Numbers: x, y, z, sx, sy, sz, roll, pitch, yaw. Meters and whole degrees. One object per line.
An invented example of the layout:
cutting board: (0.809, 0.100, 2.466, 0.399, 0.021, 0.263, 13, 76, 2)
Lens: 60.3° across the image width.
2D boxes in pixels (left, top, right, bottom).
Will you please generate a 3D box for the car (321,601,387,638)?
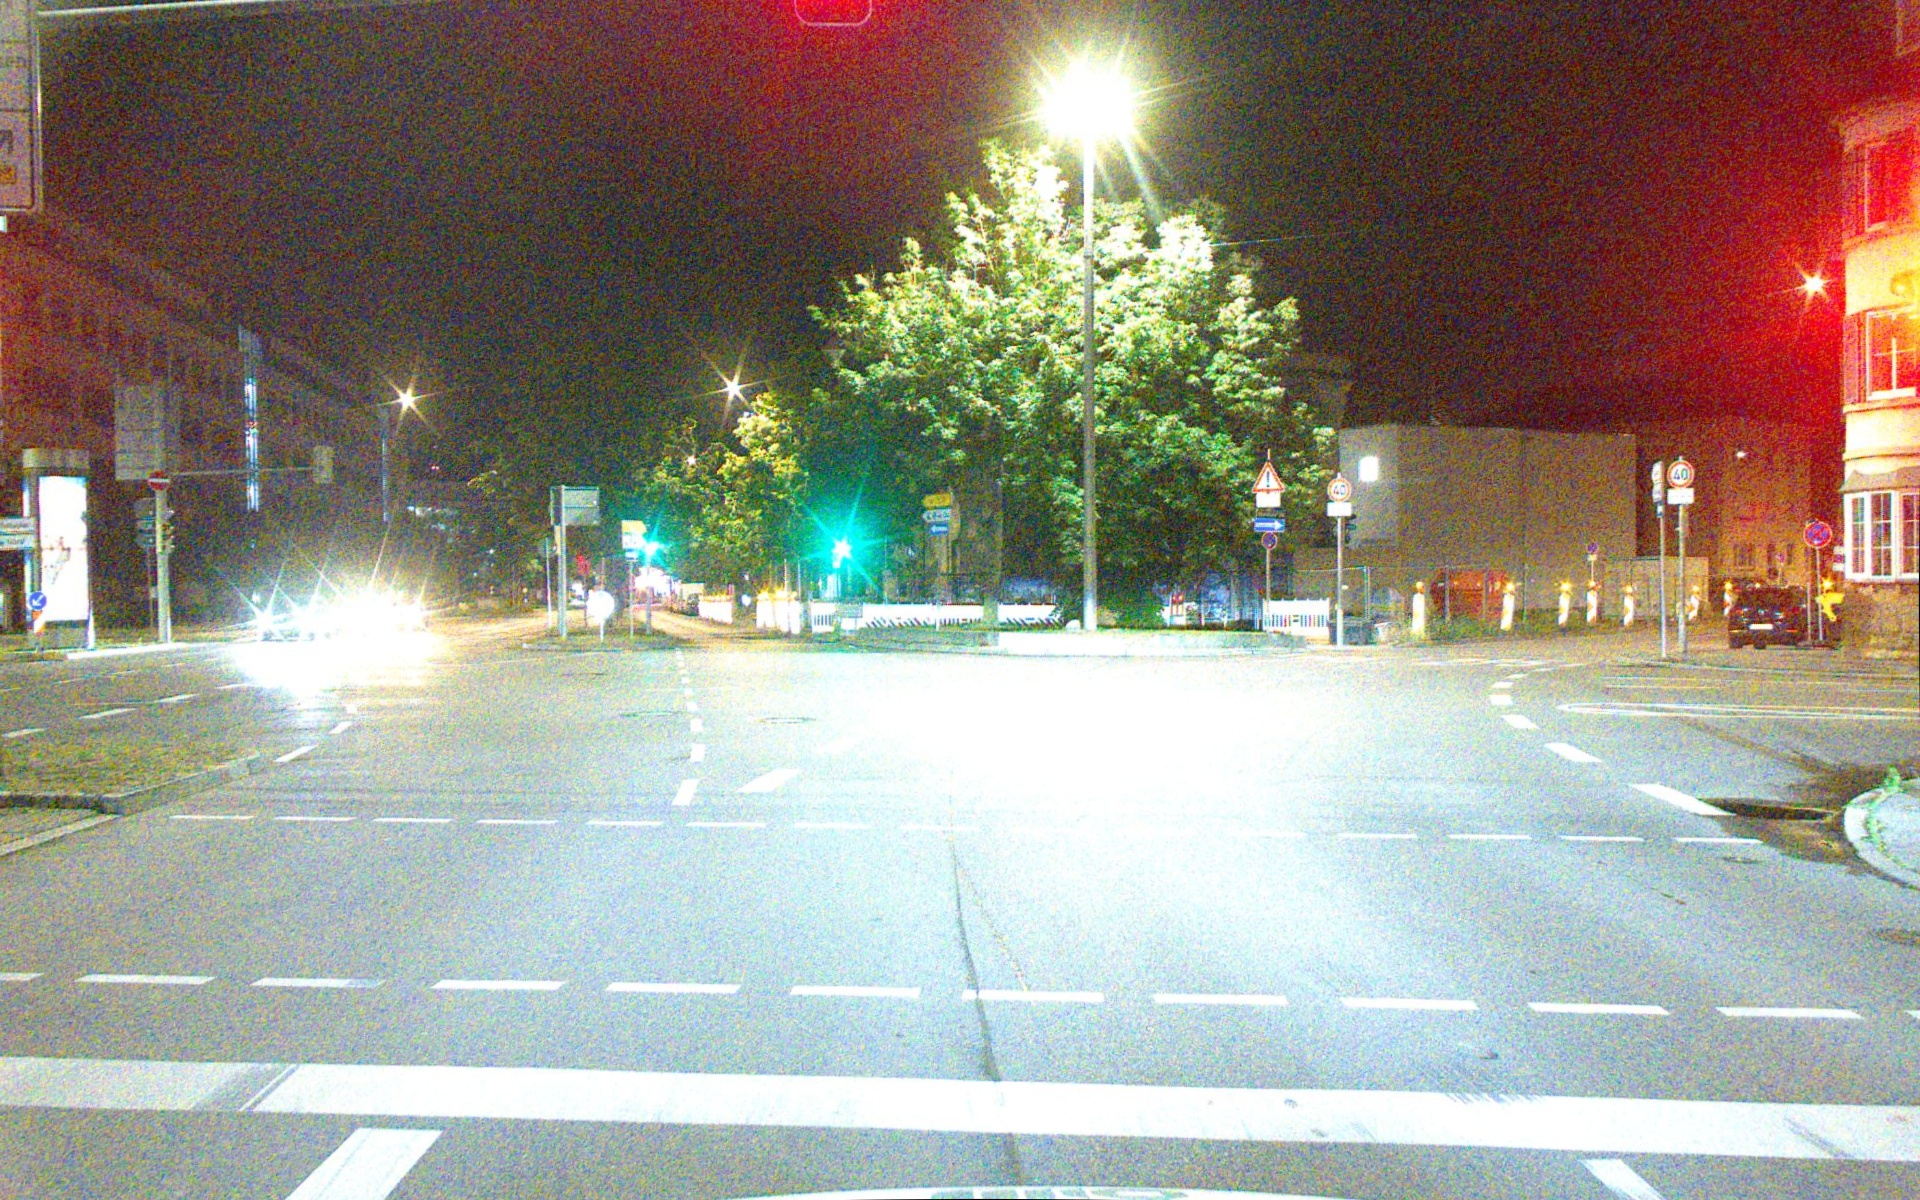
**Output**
car: (-22.731, 0.738, 62.154, 1.726, 1.345, 3.539, 0, 0, -10)

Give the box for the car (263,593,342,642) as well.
car: (-21.683, 0.577, 54.657, 1.586, 1.541, 3.991, 0, 0, -9)

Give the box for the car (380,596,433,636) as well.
car: (-24.967, 0.736, 74.715, 1.726, 1.758, 3.539, 0, 0, -10)

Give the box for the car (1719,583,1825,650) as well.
car: (20.638, 0.413, 41.990, 1.700, 1.640, 3.607, -1, -1, 38)
